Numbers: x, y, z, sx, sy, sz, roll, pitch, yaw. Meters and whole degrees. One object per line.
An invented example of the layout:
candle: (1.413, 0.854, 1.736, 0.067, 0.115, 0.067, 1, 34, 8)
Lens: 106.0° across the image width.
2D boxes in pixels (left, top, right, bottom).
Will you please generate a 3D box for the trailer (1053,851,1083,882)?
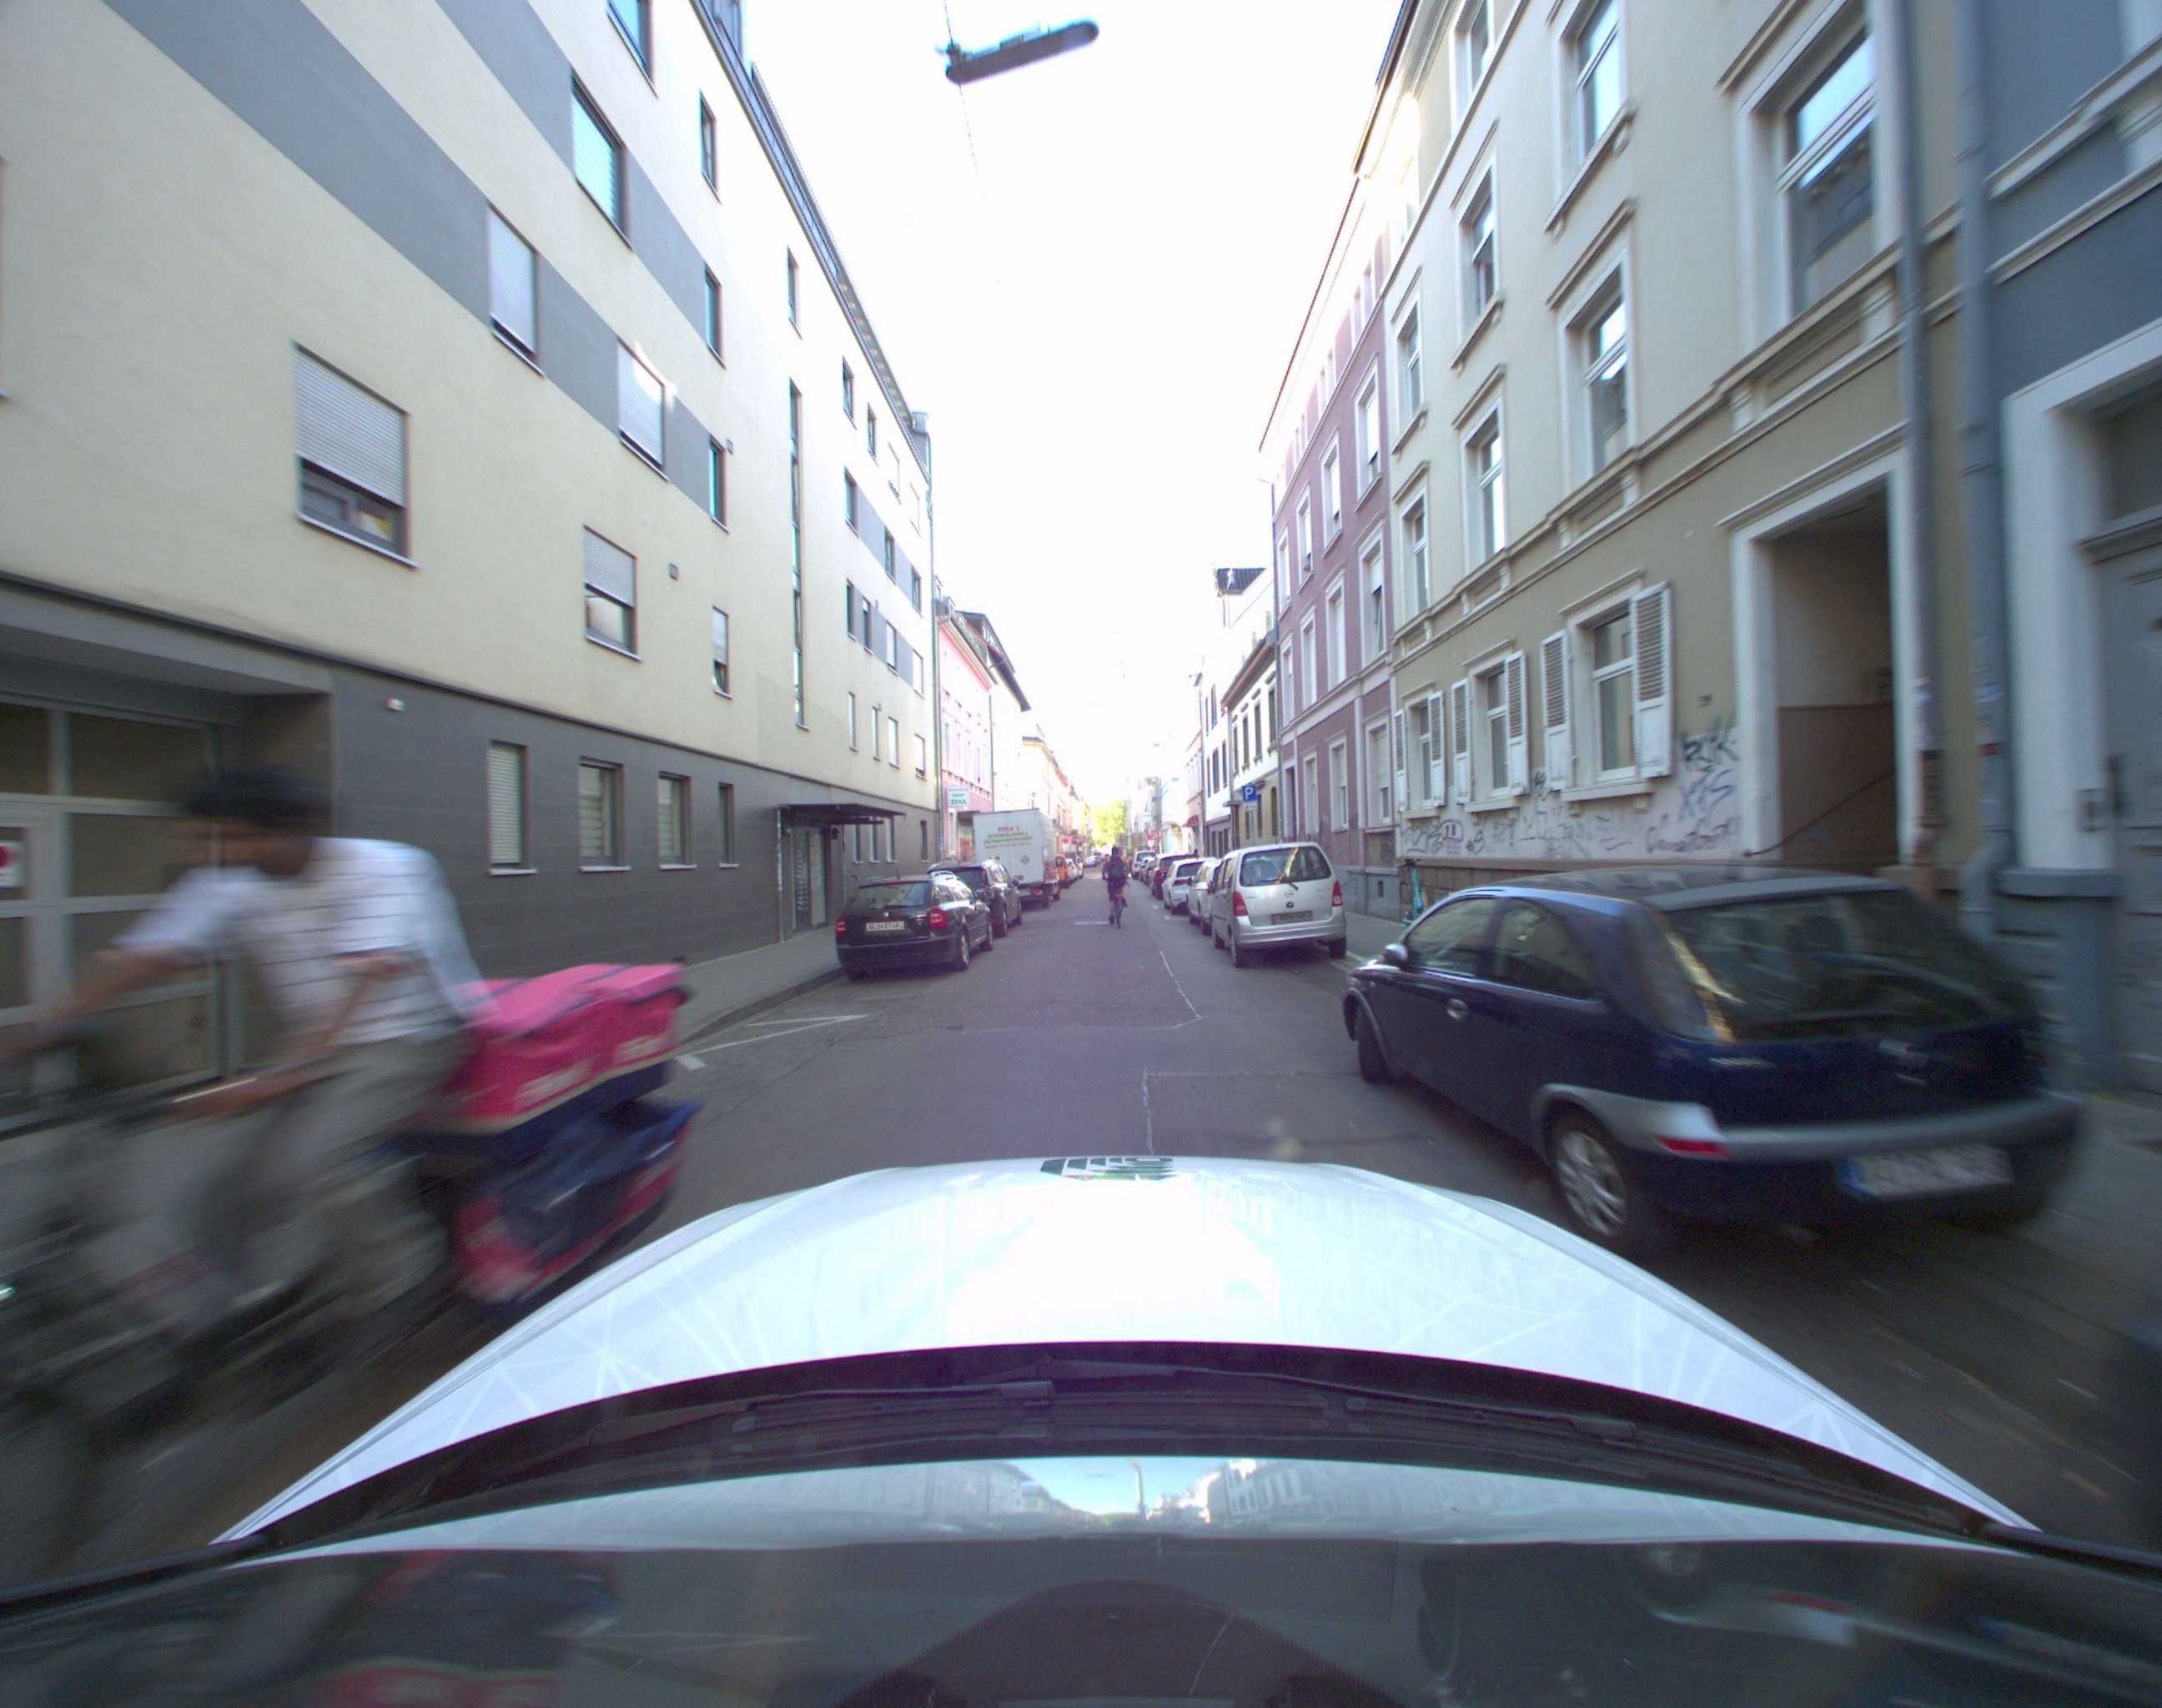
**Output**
trailer: (-0.924, 0.874, 58.596, 1.875, 2.092, 3.738, -3, -1, 2)

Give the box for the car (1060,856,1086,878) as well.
car: (-0.597, 1.014, 62.780, 1.743, 1.573, 3.797, -3, -1, 2)

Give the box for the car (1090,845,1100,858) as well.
car: (2.806, -0.431, 159.386, 1.743, 2.318, 3.797, -3, -1, 2)

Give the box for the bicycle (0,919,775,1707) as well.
bicycle: (-1.918, 0.976, 2.398, 0.974, 1.314, 2.555, -3, 0, 0)

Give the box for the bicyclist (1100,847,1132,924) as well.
bicyclist: (0.785, 0.698, 18.341, 0.665, 1.677, 1.097, -1, -1, 1)

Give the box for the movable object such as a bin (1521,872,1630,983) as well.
movable object such as a bin: (5.258, 0.762, 8.691, 0.749, 1.088, 0.559, -4, -1, 1)

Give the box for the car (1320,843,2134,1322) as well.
car: (2.630, 0.757, 4.450, 1.547, 1.511, 3.610, -1, -1, -1)

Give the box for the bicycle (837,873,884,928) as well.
bicycle: (-5.185, 1.062, 19.245, 0.488, 1.164, 1.774, -4, 0, 3)

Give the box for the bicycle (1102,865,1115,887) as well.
bicycle: (1.448, 1.125, 42.509, 0.646, 1.129, 2.136, -1, -1, 2)

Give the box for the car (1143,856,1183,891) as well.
car: (3.938, 0.932, 39.673, 1.660, 1.505, 3.819, -5, -1, 3)

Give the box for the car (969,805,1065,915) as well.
car: (-2.075, 0.227, 29.167, 2.334, 3.291, 7.158, -4, -1, 3)

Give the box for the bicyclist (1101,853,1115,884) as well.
bicyclist: (1.411, 0.765, 42.511, 0.668, 1.567, 0.716, -1, -1, 1)

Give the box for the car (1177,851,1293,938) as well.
car: (3.202, 0.803, 17.828, 1.690, 1.543, 4.630, -4, -1, 1)

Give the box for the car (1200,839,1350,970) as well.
car: (2.850, 0.696, 12.645, 1.551, 1.712, 3.559, -1, -1, 1)

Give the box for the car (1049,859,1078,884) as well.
car: (-1.099, 1.130, 54.006, 1.647, 1.537, 3.635, -3, -1, 2)

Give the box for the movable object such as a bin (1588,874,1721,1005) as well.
movable object such as a bin: (5.177, 0.751, 7.391, 0.692, 1.088, 0.632, -4, -1, 1)

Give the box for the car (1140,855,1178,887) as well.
car: (4.212, 0.918, 44.422, 1.640, 1.475, 3.972, -6, -1, 2)

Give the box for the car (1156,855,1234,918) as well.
car: (3.194, 0.873, 23.482, 1.680, 1.543, 4.047, -4, -1, 1)

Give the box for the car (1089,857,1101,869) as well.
car: (2.200, 1.432, 128.956, 1.743, 1.821, 3.797, -3, -1, 2)

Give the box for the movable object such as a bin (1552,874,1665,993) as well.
movable object such as a bin: (5.215, 0.768, 8.077, 0.692, 1.088, 0.559, -4, -1, 1)

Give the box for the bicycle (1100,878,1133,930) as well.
bicycle: (0.785, 1.095, 18.316, 0.674, 1.074, 1.942, -1, -1, 2)

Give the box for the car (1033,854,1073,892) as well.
car: (-1.438, 0.976, 43.419, 1.746, 1.816, 4.079, -4, -1, 1)

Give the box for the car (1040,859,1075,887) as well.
car: (-1.363, 1.114, 48.899, 1.743, 1.537, 4.321, -3, -1, 2)

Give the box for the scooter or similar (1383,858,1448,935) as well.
scooter or similar: (5.570, 0.690, 13.636, 0.448, 1.182, 1.369, -6, -1, 1)

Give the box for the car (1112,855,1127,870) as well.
car: (4.156, 0.947, 88.820, 1.605, 1.560, 3.611, -1, -1, 2)

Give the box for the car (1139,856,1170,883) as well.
car: (4.476, 0.946, 50.132, 1.743, 1.487, 3.803, -3, -1, 3)

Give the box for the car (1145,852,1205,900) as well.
car: (3.571, 0.811, 31.636, 1.911, 1.706, 4.368, -1, 0, 2)

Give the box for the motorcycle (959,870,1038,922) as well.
motorcycle: (-2.282, 1.157, 22.661, 0.782, 1.253, 2.120, -4, -1, 43)

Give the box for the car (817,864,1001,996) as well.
car: (-2.449, 1.011, 12.790, 1.710, 1.478, 4.500, -5, 0, 1)

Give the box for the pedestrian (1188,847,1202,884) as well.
pedestrian: (6.190, 0.612, 44.348, 0.641, 2.014, 0.764, -1, -1, 1)

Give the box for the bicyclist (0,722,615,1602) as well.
bicyclist: (-1.962, 0.594, 2.024, 0.947, 1.628, 0.953, -4, -1, 0)

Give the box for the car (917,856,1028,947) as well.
car: (-2.335, 0.971, 18.563, 1.710, 1.650, 4.247, -5, 0, 1)

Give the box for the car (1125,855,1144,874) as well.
car: (4.740, 0.910, 72.719, 1.605, 1.634, 3.611, -1, -1, 2)

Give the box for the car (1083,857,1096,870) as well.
car: (1.179, 1.294, 111.801, 1.743, 1.683, 3.797, -3, -1, 2)

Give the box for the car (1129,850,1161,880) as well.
car: (4.328, 0.773, 55.205, 1.745, 1.879, 3.971, -3, -1, 0)
